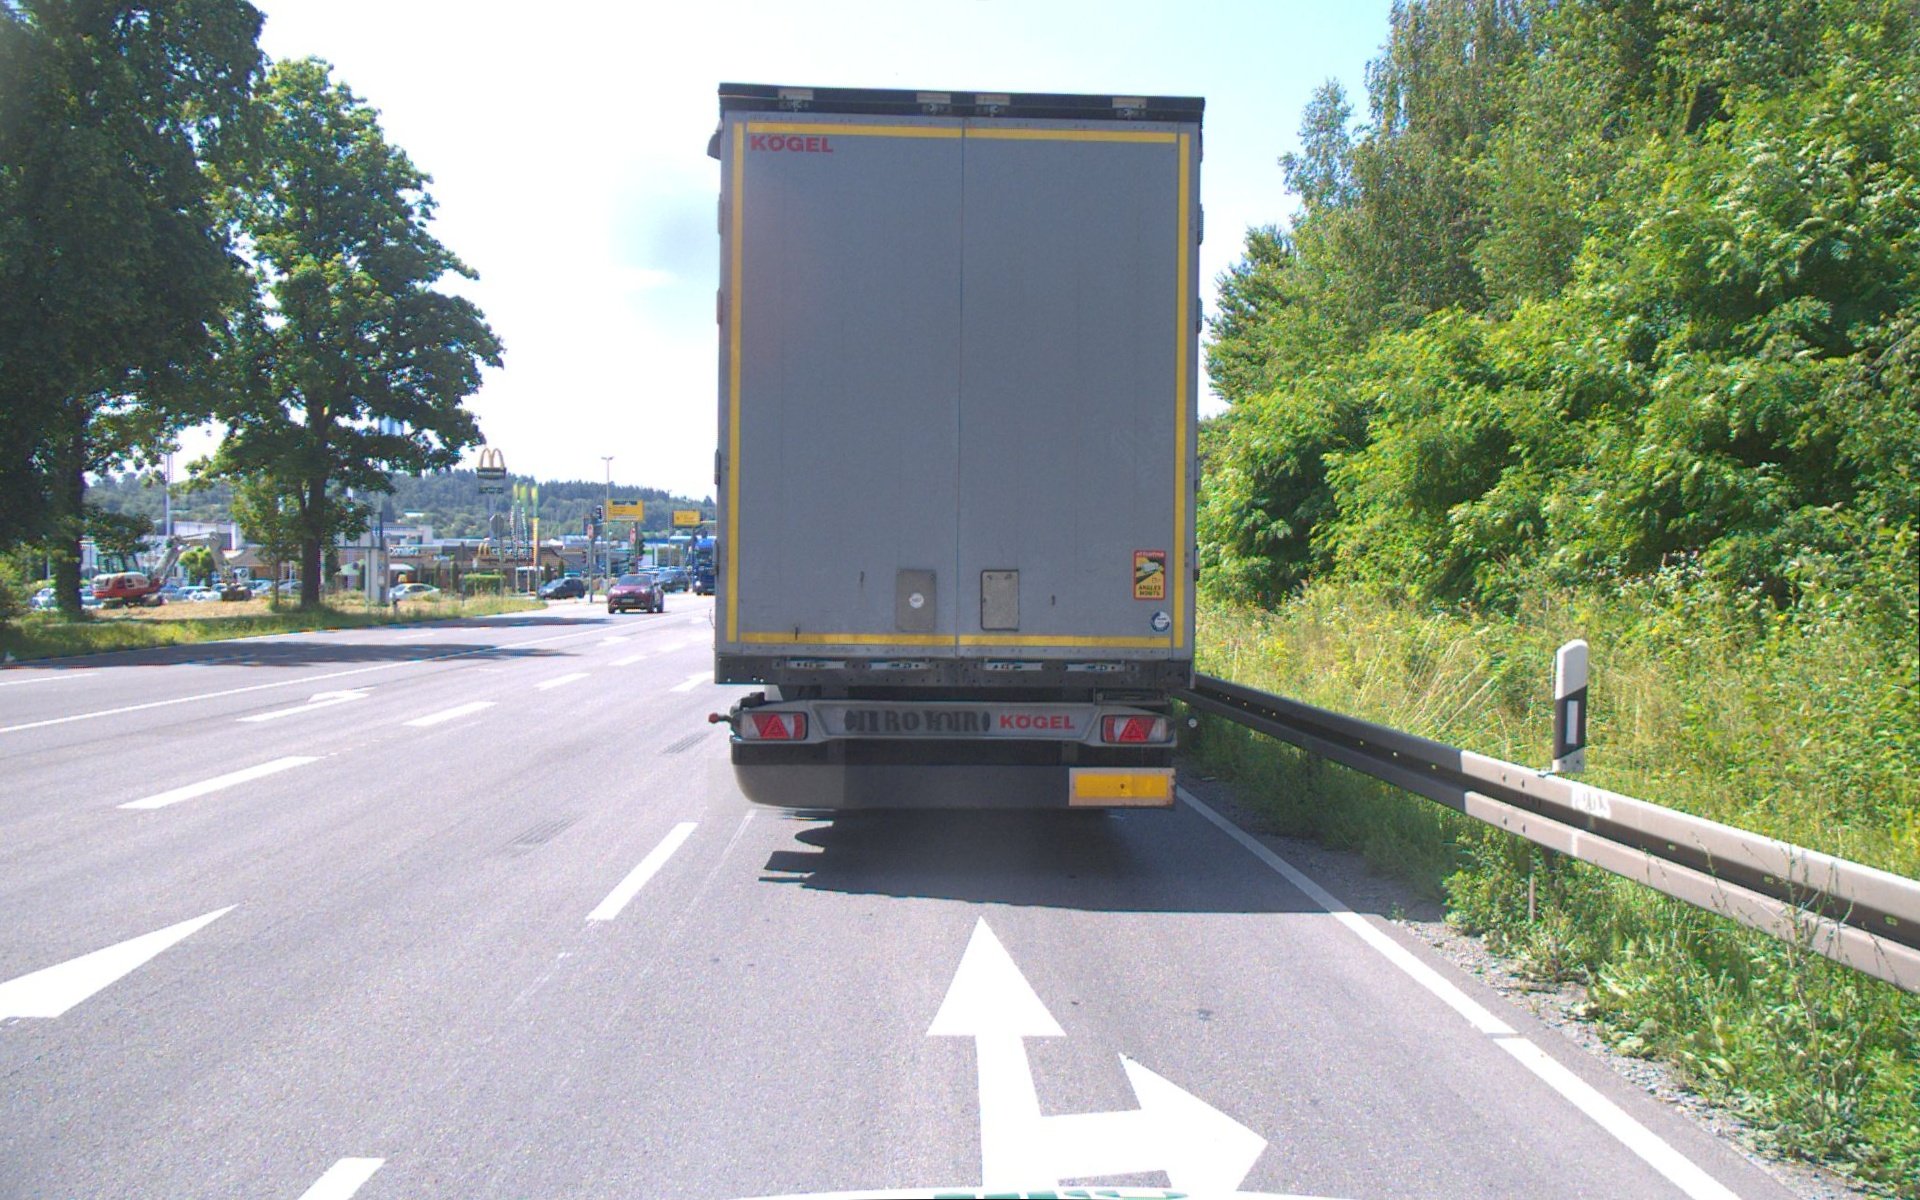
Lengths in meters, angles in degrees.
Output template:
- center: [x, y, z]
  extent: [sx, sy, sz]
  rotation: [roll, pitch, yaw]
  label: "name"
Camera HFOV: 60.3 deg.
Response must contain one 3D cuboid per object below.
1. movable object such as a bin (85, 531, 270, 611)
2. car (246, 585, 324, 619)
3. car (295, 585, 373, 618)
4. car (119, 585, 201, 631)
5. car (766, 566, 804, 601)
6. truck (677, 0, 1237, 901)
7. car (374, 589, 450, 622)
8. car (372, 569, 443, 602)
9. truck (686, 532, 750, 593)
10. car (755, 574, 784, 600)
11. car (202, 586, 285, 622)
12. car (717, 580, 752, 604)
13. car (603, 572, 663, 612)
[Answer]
- center: [-34.289, -1.264, 72.704]
  extent: [2.994, 3.356, 6.761]
  rotation: [1, 1, 38]
  label: "movable object such as a bin"
- center: [-33.548, 0.083, 82.177]
  extent: [3.920, 1.646, 1.833]
  rotation: [1, 1, 36]
  label: "car"
- center: [-31.933, 0.065, 84.356]
  extent: [3.920, 1.646, 1.833]
  rotation: [1, 1, 36]
  label: "car"
- center: [-37.464, 0.362, 77.391]
  extent: [3.925, 2.049, 1.990]
  rotation: [1, 0, 39]
  label: "car"
- center: [-10.575, -0.983, 100.206]
  extent: [1.953, 2.049, 3.999]
  rotation: [1, 0, -2]
  label: "car"
- center: [-0.128, -0.857, 16.607]
  extent: [2.700, 4.720, 16.651]
  rotation: [1, 0, -1]
  label: "truck"
- center: [-28.462, 0.266, 85.865]
  extent: [3.920, 1.646, 1.833]
  rotation: [1, 1, 36]
  label: "car"
- center: [-35.690, -0.933, 106.868]
  extent: [1.959, 2.049, 3.987]
  rotation: [1, 1, 34]
  label: "car"
- center: [-17.992, -2.722, 124.260]
  extent: [2.908, 4.249, 16.569]
  rotation: [0, 1, -2]
  label: "truck"
- center: [-13.208, -0.901, 114.990]
  extent: [1.685, 1.783, 3.855]
  rotation: [1, 1, -2]
  label: "car"
- center: [-34.786, 0.175, 80.262]
  extent: [3.920, 1.680, 1.993]
  rotation: [1, 1, 36]
  label: "car"
- center: [-14.093, -0.484, 103.534]
  extent: [1.731, 1.410, 3.998]
  rotation: [1, 0, -3]
  label: "car"
- center: [-13.153, -0.342, 66.696]
  extent: [1.865, 1.535, 3.762]
  rotation: [0, 1, -3]
  label: "car"
